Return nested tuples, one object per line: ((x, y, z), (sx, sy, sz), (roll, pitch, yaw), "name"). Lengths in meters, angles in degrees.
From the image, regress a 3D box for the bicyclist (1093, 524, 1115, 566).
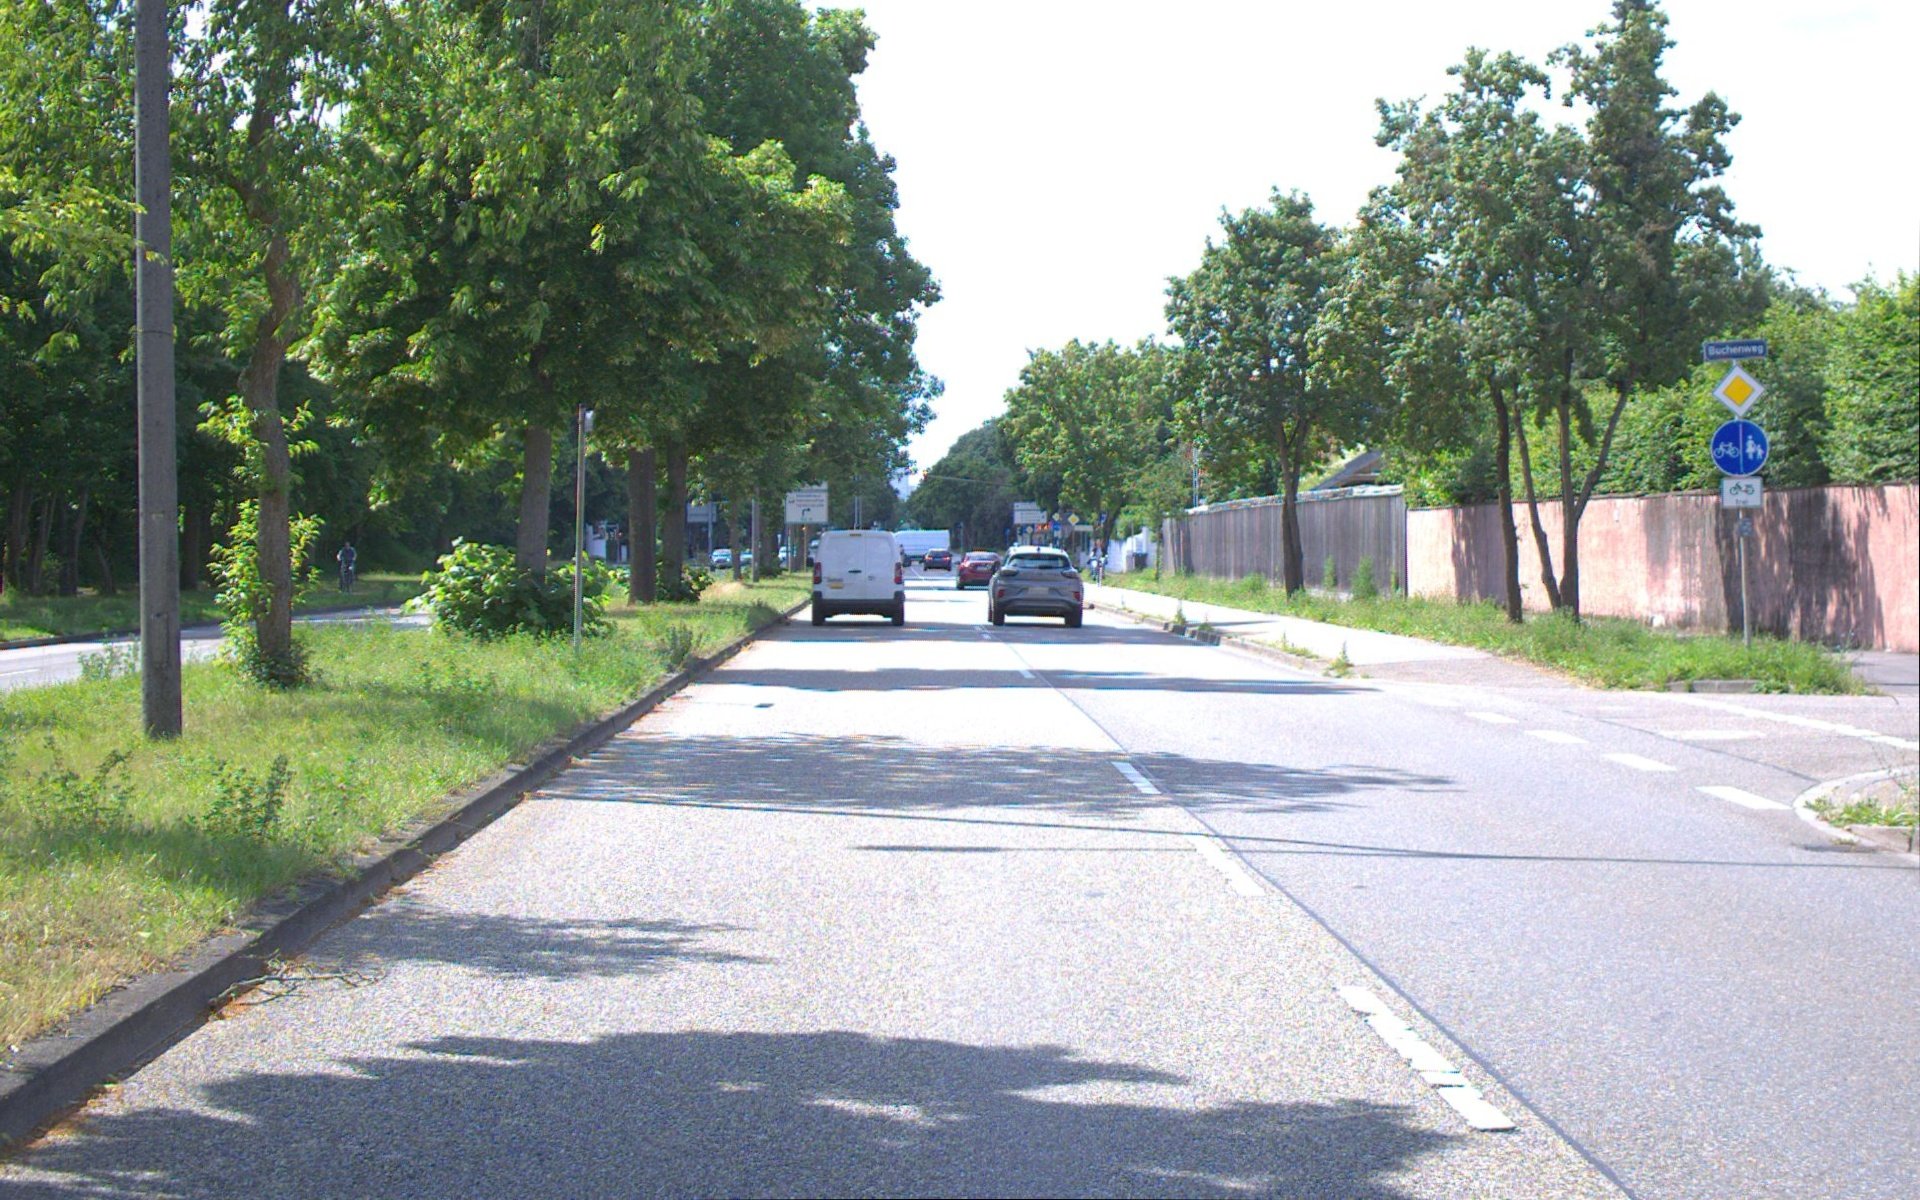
((5.031, -1.924, 120.140), (0.654, 1.407, 0.986), (-2, 1, 0), "bicyclist")

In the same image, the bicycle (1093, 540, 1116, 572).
((5.046, -1.539, 120.076), (0.646, 1.064, 2.278), (-2, 1, 0), "bicycle")

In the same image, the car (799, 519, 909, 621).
((-2.039, -0.617, 67.154), (2.066, 1.905, 4.647), (0, 1, -1), "car")

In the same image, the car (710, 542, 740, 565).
((-17.305, -3.448, 253.509), (1.993, 1.700, 4.193), (0, 1, -1), "car")

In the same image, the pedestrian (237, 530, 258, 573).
((-26.864, -1.833, 129.628), (0.644, 1.624, 0.656), (1, 1, 0), "pedestrian")

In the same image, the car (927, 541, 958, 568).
((-1.209, -3.072, 232.099), (1.993, 1.766, 4.147), (1, 1, -1), "car")

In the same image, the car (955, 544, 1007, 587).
((0.774, -1.307, 129.888), (1.880, 1.581, 4.000), (0, 1, -1), "car")

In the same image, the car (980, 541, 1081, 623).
((1.372, -0.386, 68.369), (1.875, 1.583, 4.185), (0, 1, -1), "car")

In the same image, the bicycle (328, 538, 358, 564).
((-20.726, -1.639, 115.508), (0.618, 0.875, 1.915), (0, 1, 2), "bicycle")
